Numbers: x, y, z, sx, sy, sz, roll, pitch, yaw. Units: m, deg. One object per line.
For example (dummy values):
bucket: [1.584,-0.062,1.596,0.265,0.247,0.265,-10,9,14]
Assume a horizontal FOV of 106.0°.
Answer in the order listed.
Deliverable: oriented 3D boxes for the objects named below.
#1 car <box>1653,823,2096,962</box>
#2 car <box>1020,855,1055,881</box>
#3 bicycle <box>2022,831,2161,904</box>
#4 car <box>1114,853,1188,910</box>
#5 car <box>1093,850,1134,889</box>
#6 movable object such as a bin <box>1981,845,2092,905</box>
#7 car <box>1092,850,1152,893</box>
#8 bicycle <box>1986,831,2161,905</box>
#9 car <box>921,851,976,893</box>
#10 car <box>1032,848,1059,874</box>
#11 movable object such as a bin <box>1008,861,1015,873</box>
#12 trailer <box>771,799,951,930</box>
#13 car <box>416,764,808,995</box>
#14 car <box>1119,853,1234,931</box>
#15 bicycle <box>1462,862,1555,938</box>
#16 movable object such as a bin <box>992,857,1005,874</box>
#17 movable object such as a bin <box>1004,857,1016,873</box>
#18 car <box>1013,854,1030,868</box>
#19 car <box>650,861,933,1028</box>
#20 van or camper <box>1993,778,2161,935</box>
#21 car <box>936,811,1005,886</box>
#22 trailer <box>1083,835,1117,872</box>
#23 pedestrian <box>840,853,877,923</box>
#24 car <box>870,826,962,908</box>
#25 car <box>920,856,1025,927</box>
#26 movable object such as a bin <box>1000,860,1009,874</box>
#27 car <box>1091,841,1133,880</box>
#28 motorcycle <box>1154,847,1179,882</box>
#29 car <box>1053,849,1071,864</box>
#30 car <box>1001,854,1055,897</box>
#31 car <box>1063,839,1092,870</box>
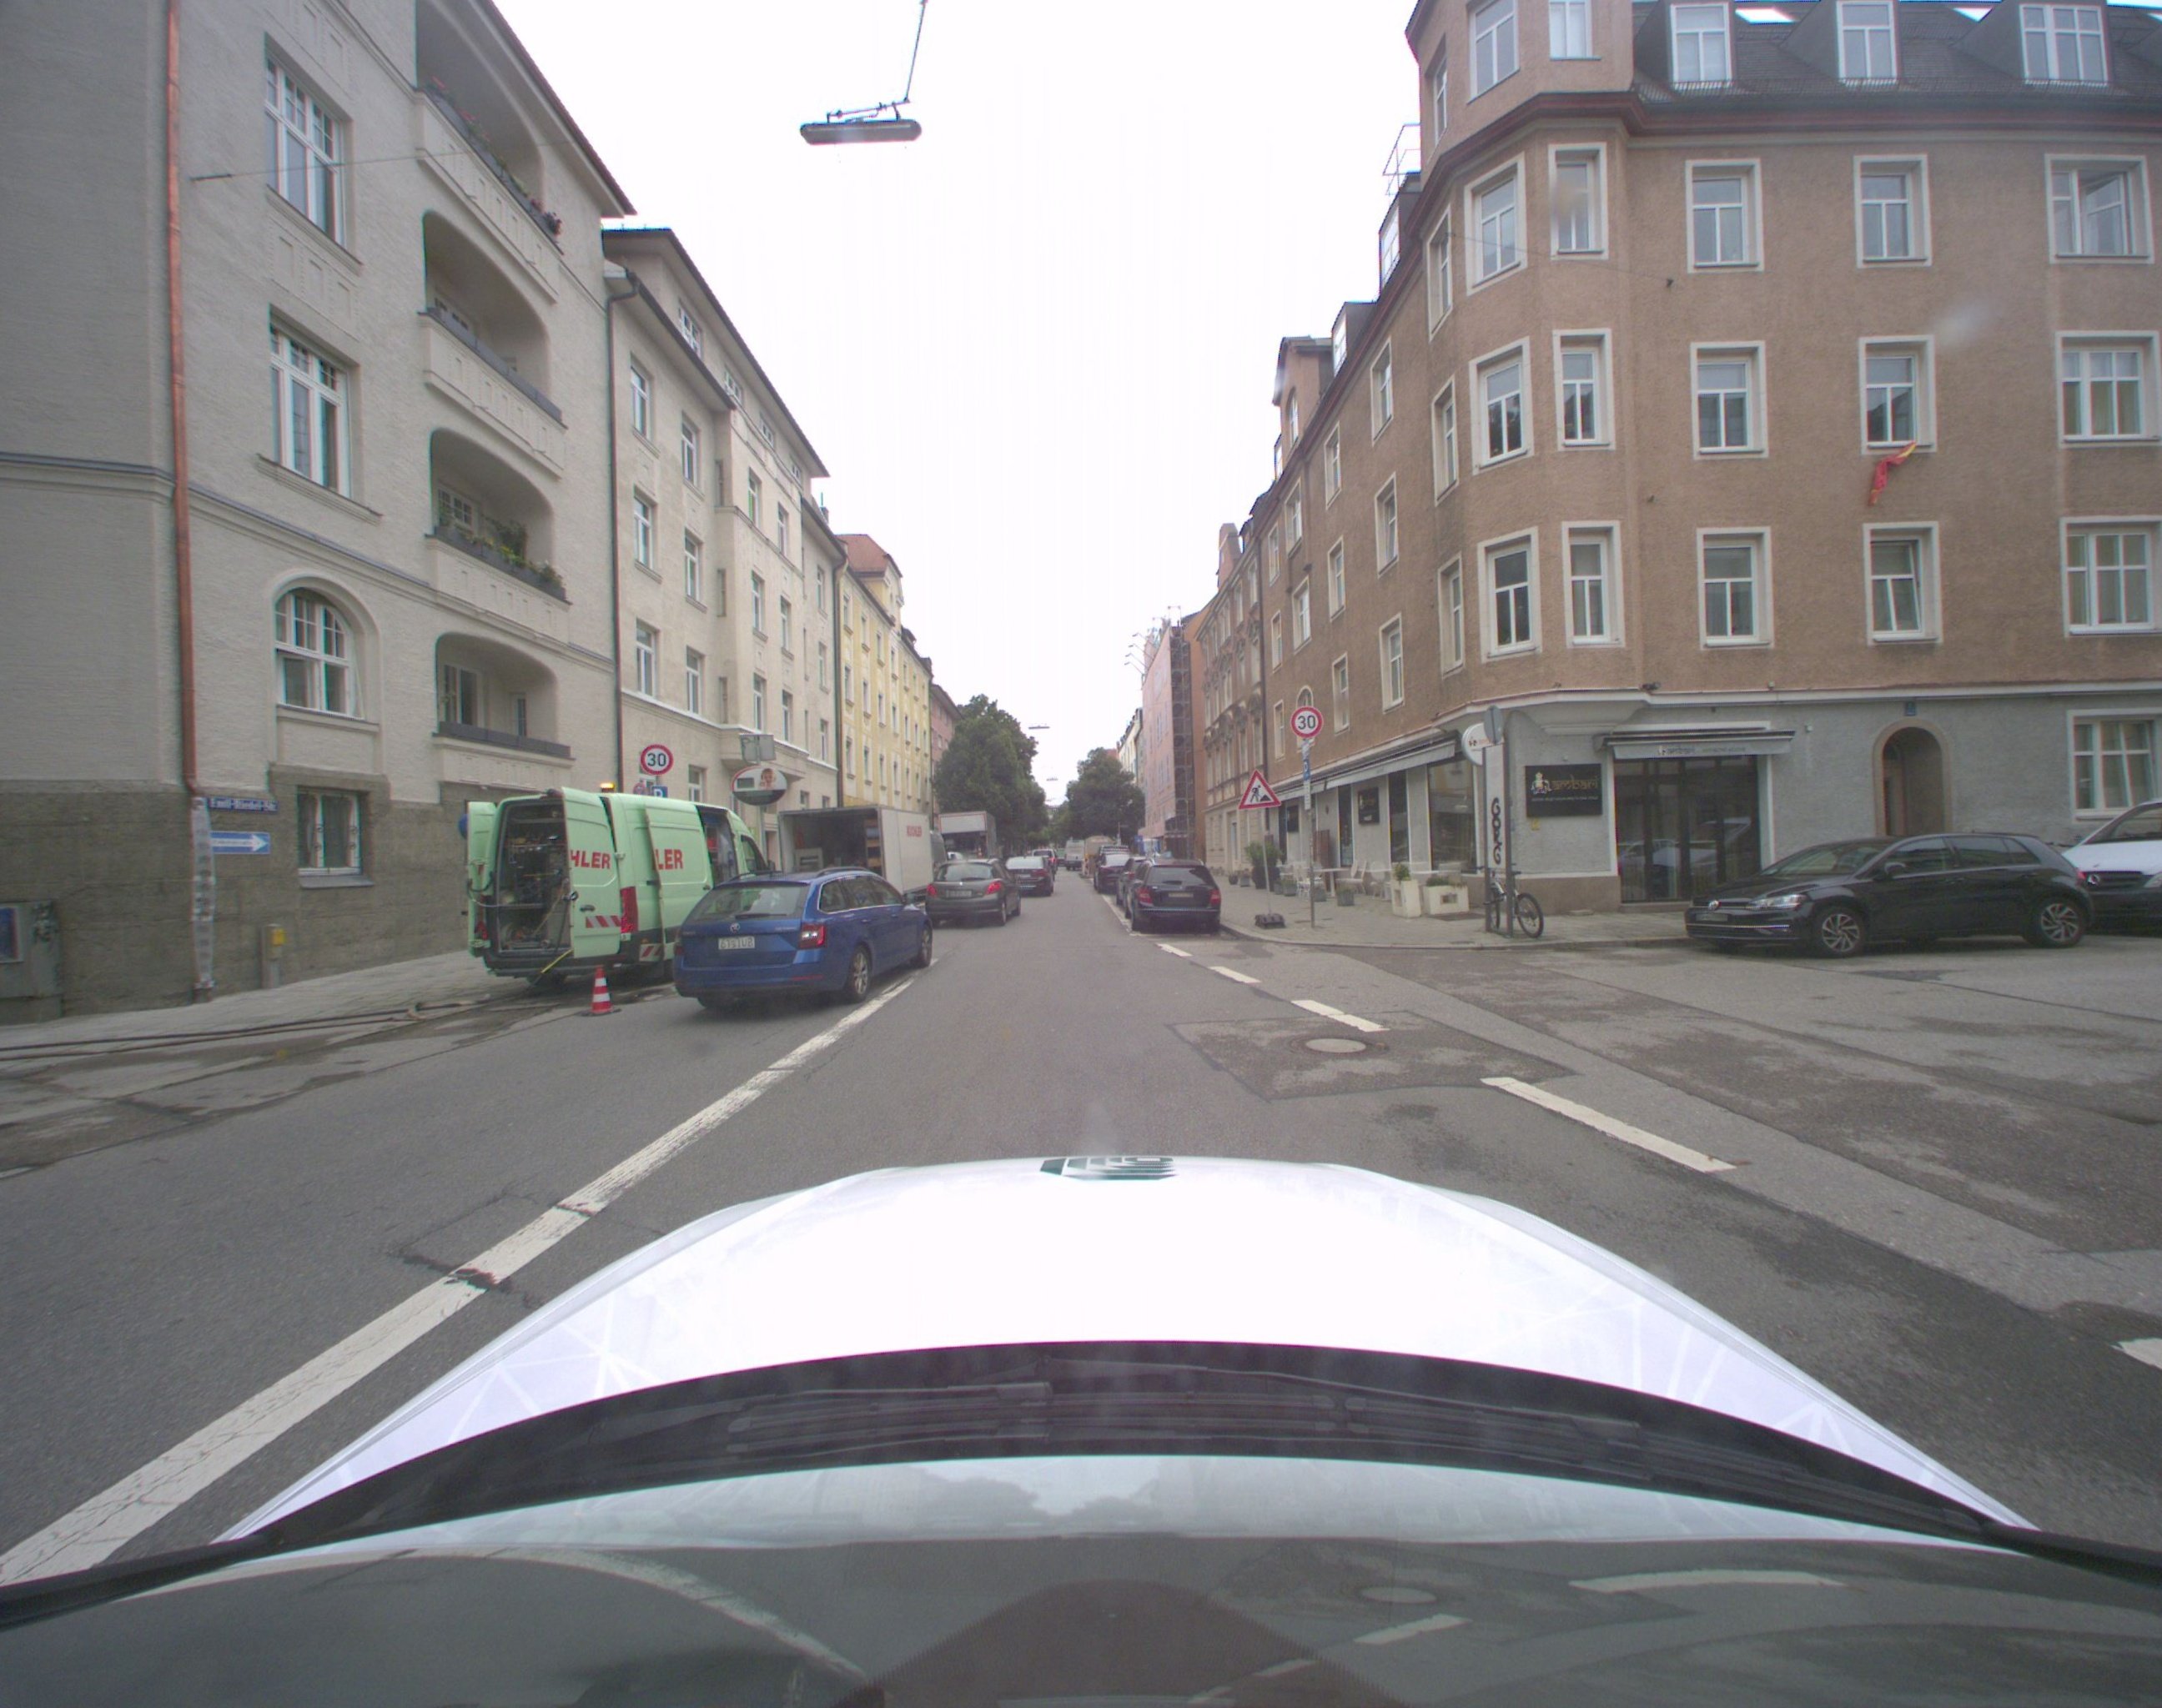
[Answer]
car: [9.953,0.457,10.474,3.860,1.487,1.892,-2,-1,-1]
car: [-2.491,0.788,47.128,1.862,1.348,4.345,0,0,-1]
bicycle: [17.217,0.219,13.602,0.474,1.143,1.918,-2,0,-17]
car: [1.877,0.728,22.900,1.568,1.394,4.179,-2,0,-2]
car: [1.479,0.693,38.334,1.688,1.676,4.407,1,-1,0]
movable object such as a bin: [16.055,0.335,13.710,0.732,0.950,0.966,-2,1,-8]
car: [1.553,0.643,32.672,1.926,1.553,5.632,-1,0,-2]
bicycle: [16.662,0.224,13.664,0.474,1.143,1.918,-2,0,-17]
car: [-6.200,0.810,38.548,1.757,1.779,4.326,-3,0,0]
car: [-2.645,0.510,61.403,1.862,1.870,4.345,0,0,-1]
movable object such as a bin: [-6.021,1.151,71.023,0.545,1.020,0.635,-4,0,-5]
trailer: [-5.963,0.197,23.637,2.794,2.968,7.601,-5,1,1]
car: [-6.481,0.279,12.687,2.134,2.572,6.793,-2,0,0]
car: [1.903,0.717,17.685,1.841,1.405,4.786,-1,0,-1]
bicycle: [6.586,0.678,12.646,0.494,1.005,1.804,-4,1,2]
movable object such as a bin: [-7.239,0.983,71.752,1.080,1.376,1.081,-4,0,-5]
movable object such as a bin: [-6.248,0.987,71.870,0.916,1.376,1.077,-4,0,-5]
car: [-6.618,0.763,90.410,1.808,1.478,3.996,-1,0,-3]
car: [-3.087,0.863,9.746,1.783,1.460,4.314,-2,0,0]
van or camper: [15.668,-0.022,10.788,4.883,1.919,1.961,-2,-2,0]
car: [-6.180,-0.278,46.900,2.805,3.817,8.718,-2,0,-1]
trailer: [1.489,0.007,66.244,2.495,2.840,6.897,0,-1,-1]
pedestrian: [-5.417,0.811,19.838,0.764,1.631,0.633,-2,-1,-21]
car: [-6.107,0.431,31.131,2.050,2.587,6.872,-6,0,-1]
car: [-2.402,0.794,18.905,1.734,1.422,3.666,-2,0,3]
movable object such as a bin: [-6.636,1.148,70.941,0.710,1.148,0.635,-4,0,-5]
car: [1.625,0.431,44.080,2.076,1.921,5.138,0,-2,0]
motorcycle: [3.820,0.463,36.541,0.868,1.505,1.997,-1,0,1]
car: [-2.130,0.278,91.006,2.002,1.653,4.344,0,0,-2]
car: [-1.914,0.744,30.349,1.862,1.454,4.344,0,0,-2]
car: [-0.272,0.084,73.279,2.103,2.664,5.507,0,-1,5]
